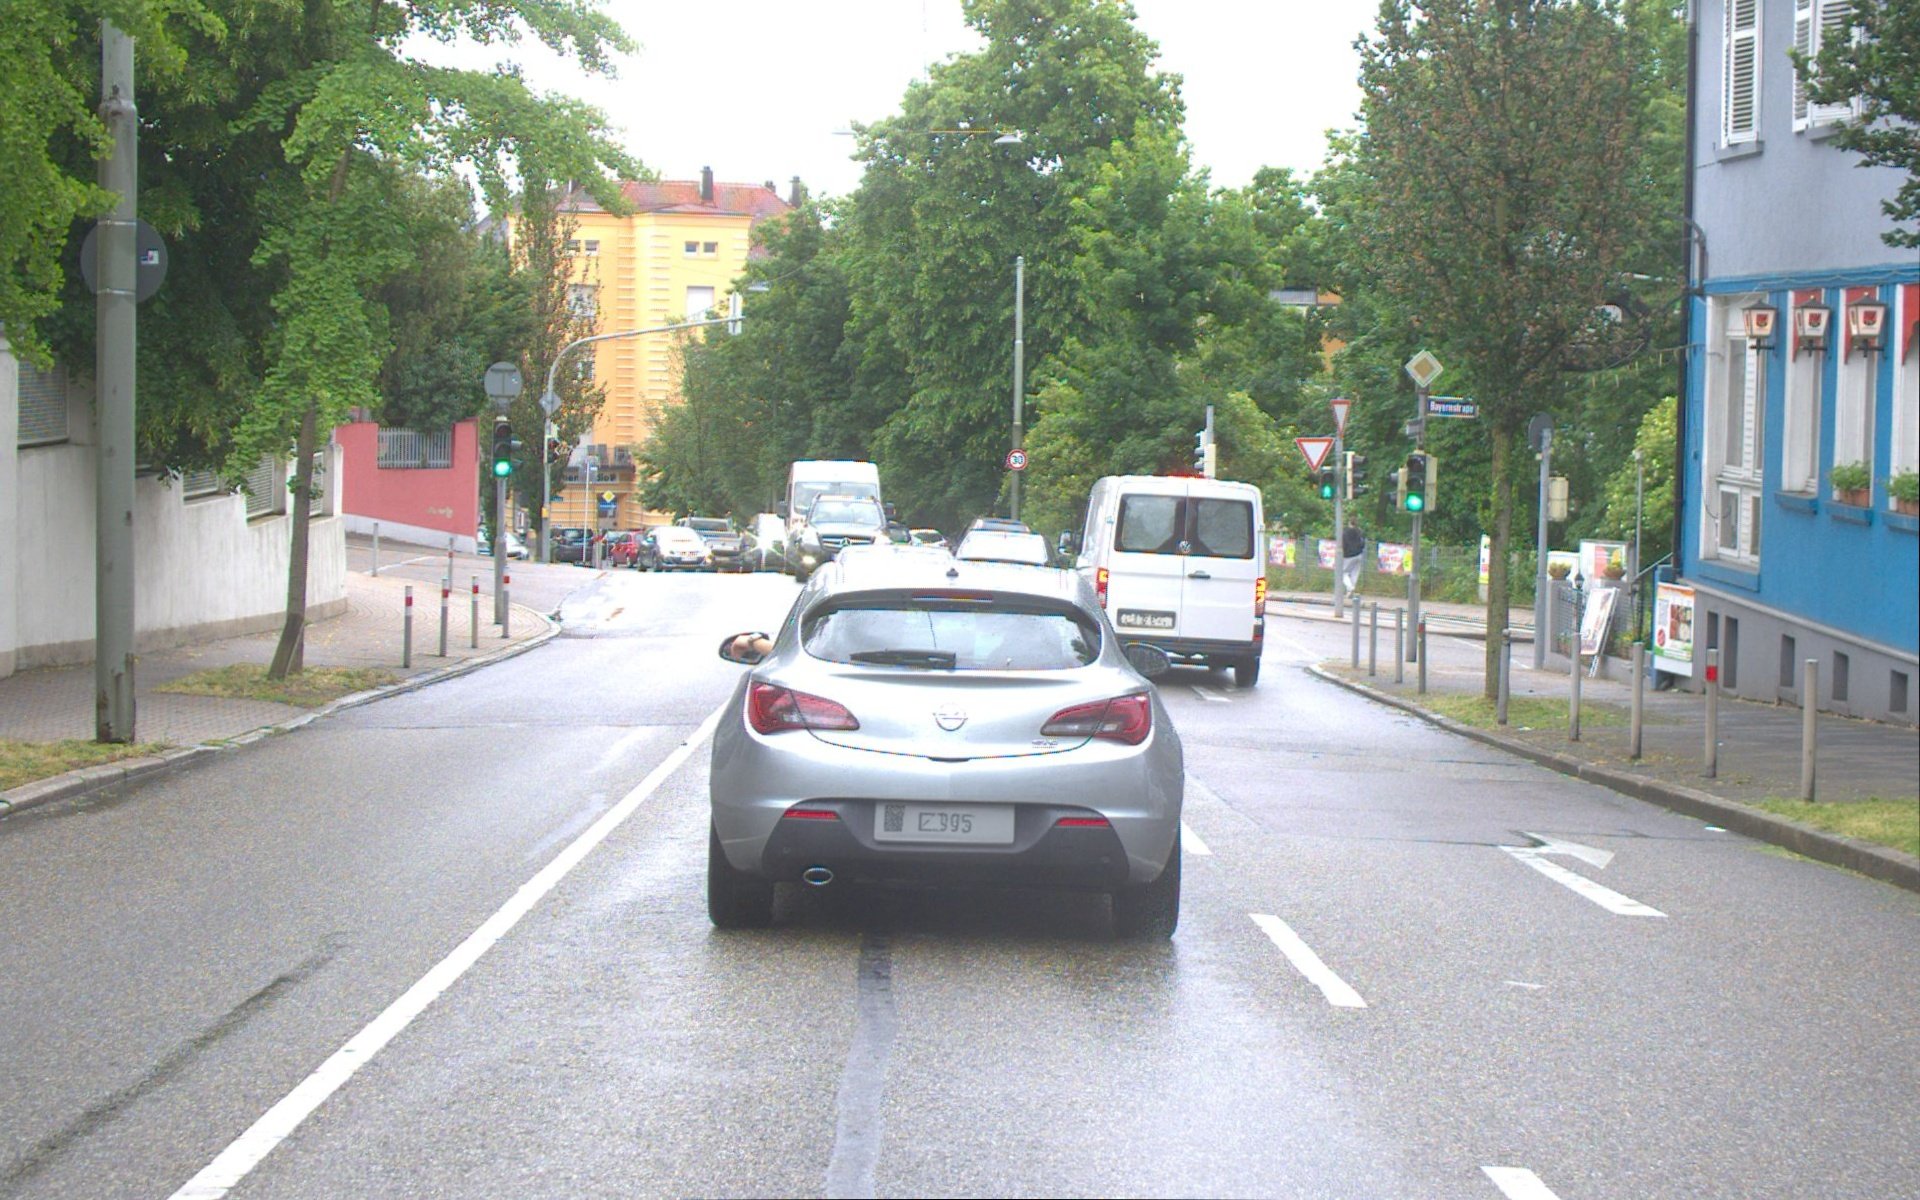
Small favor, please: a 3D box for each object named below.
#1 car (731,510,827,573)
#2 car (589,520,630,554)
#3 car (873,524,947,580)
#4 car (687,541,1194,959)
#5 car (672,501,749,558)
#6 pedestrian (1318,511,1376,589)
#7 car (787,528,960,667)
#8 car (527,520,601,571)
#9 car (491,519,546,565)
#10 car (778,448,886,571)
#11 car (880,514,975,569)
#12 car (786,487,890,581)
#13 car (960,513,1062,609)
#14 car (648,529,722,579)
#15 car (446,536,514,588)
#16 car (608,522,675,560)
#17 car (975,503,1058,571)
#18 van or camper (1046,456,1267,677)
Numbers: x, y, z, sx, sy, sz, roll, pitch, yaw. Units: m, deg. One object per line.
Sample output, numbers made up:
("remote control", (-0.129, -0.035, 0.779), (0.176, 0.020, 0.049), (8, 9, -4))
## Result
("car", (-4.801, -1.535, 90.667), (1.874, 1.569, 4.587), (1, 1, -11))
("car", (-16.472, -2.960, 161.735), (1.776, 1.425, 3.787), (3, 2, -5))
("car", (-1.392, -1.313, 94.608), (1.620, 1.481, 3.436), (1, 0, -8))
("car", (-0.092, 0.519, 14.657), (1.815, 1.425, 4.000), (2, 2, -1))
("car", (-8.647, -2.417, 119.078), (1.781, 1.848, 4.001), (2, 0, -17))
("pedestrian", (8.002, -1.030, 71.142), (0.765, 1.600, 0.966), (-1, 1, -27))
("car", (-0.925, -0.040, 37.484), (1.776, 1.425, 3.786), (1, 0, -1))
("car", (-16.157, -2.209, 140.166), (1.993, 2.007, 4.001), (1, 0, -21))
("car", (-16.307, -2.163, 127.191), (1.852, 1.481, 5.369), (1, 2, -6))
("car", (-2.818, -1.927, 74.484), (2.117, 2.537, 5.540), (1, 1, -4))
("car", (-1.013, -1.780, 104.967), (1.814, 1.490, 4.001), (-4, 1, -16))
("car", (-2.360, -1.282, 65.604), (1.821, 1.646, 4.347), (3, 2, -3))
("car", (0.767, -0.620, 53.145), (1.383, 1.407, 3.457), (1, 1, -2))
("car", (-8.701, -1.447, 108.449), (1.773, 1.492, 4.264), (2, 0, -12))
("car", (-15.990, -1.254, 114.400), (1.814, 1.607, 4.001), (2, 0, -13))
("car", (-13.418, -2.481, 144.610), (1.814, 1.462, 4.001), (-4, 2, -19))
("car", (1.278, -1.421, 78.690), (1.620, 1.481, 3.436), (1, 0, -3))
("van or camper", (2.229, -0.416, 40.473), (2.103, 2.318, 5.418), (3, 1, -1))
